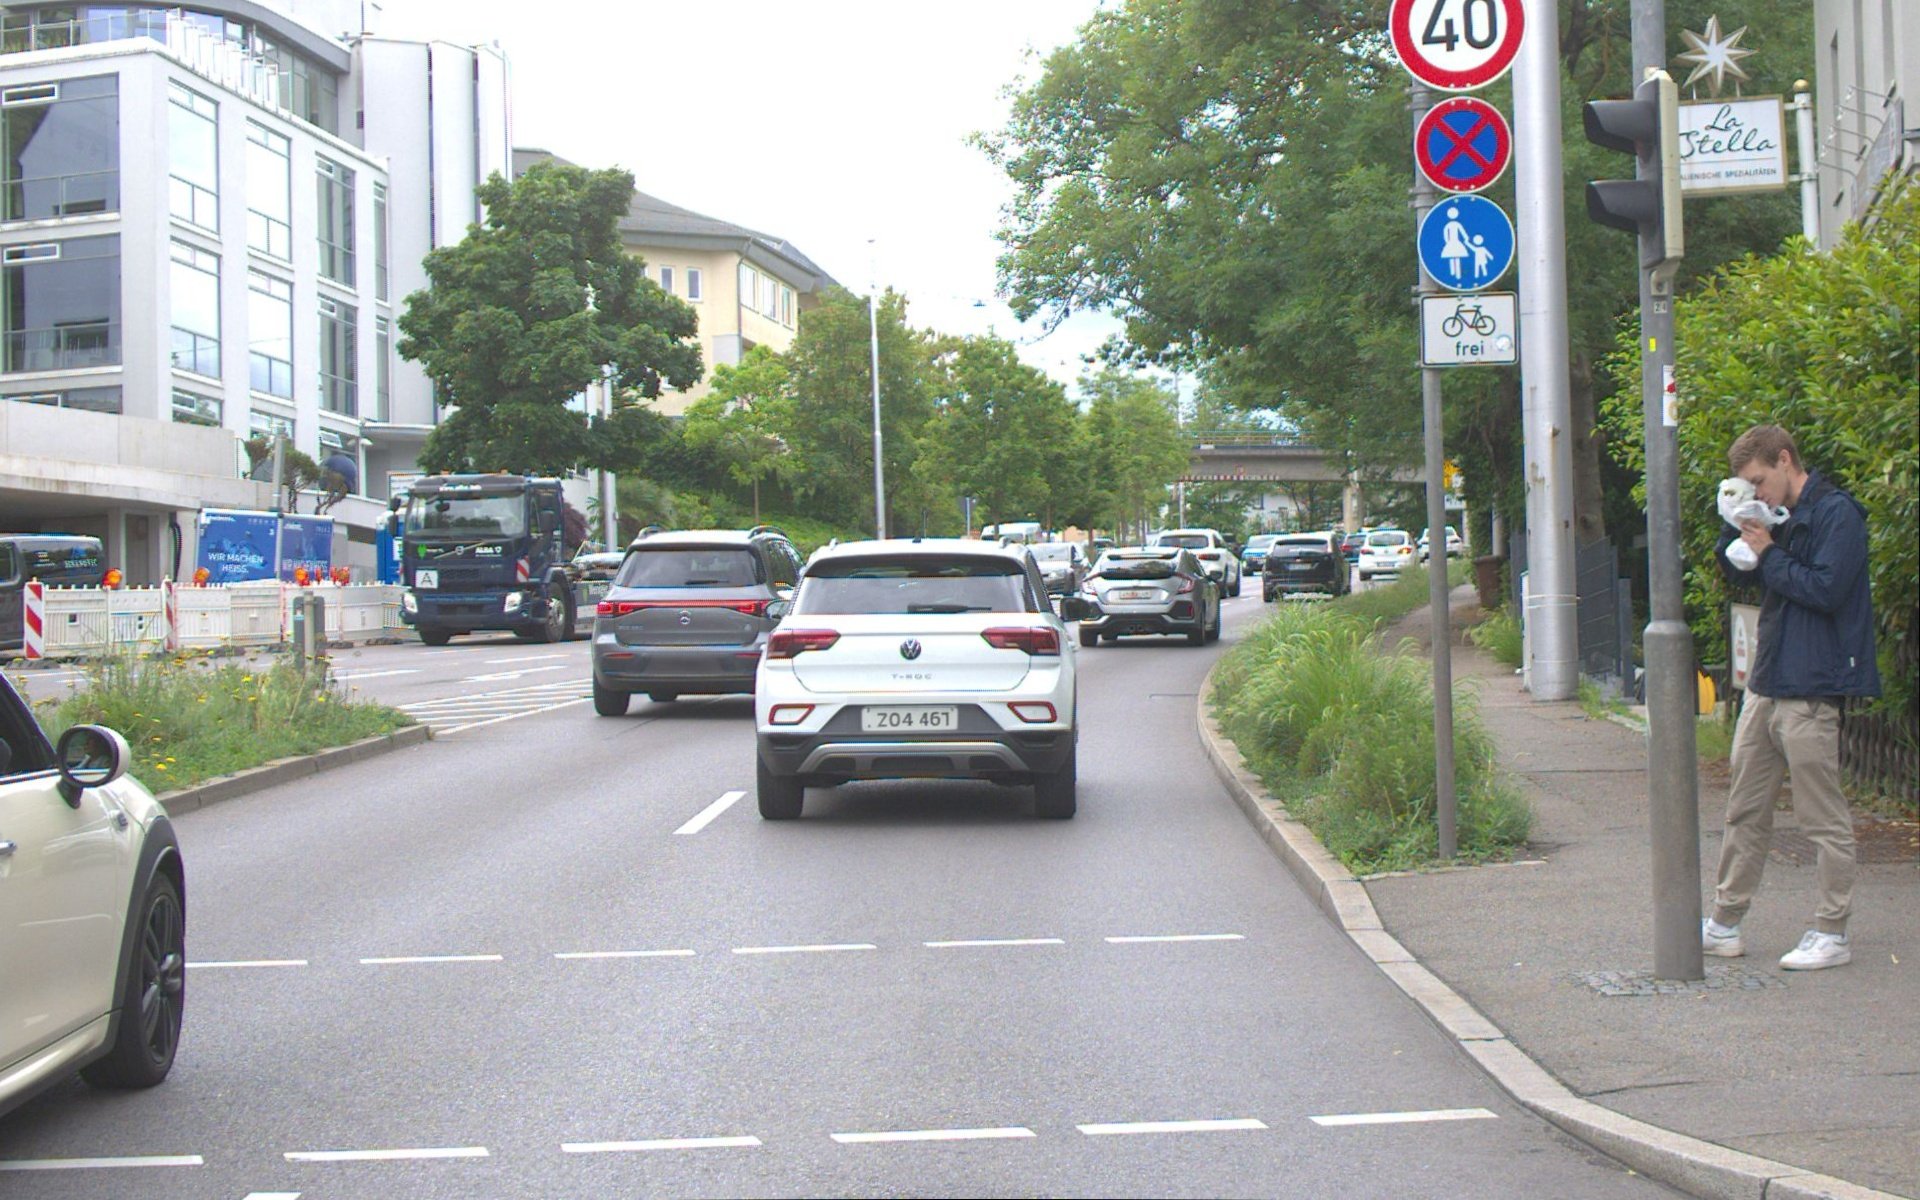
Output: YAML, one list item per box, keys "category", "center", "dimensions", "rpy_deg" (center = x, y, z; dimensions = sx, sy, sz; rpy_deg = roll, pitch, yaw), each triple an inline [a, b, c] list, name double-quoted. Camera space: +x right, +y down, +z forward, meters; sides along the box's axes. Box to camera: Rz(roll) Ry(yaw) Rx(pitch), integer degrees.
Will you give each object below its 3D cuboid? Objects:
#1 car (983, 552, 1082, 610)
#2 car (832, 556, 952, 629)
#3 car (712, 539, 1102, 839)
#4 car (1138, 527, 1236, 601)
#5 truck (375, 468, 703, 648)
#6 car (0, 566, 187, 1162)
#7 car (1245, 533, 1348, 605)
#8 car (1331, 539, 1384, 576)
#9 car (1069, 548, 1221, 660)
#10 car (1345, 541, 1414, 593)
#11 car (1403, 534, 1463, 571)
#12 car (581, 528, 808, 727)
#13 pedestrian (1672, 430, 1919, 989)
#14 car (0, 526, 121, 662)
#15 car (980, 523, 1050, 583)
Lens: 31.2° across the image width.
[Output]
- category: "car"
  center: [1.893, -0.498, 87.928]
  dimensions: [1.844, 1.388, 4.282]
  rpy_deg: [-1, 1, 11]
- category: "car"
  center: [-1.422, -0.187, 73.679]
  dimensions: [1.696, 1.491, 4.484]
  rpy_deg: [0, 1, 11]
- category: "car"
  center: [-0.404, 0.440, 20.004]
  dimensions: [1.811, 1.534, 3.690]
  rpy_deg: [-2, 1, -8]
- category: "car"
  center: [5.405, -0.877, 81.374]
  dimensions: [1.859, 1.646, 4.634]
  rpy_deg: [-1, 1, 9]
- category: "truck"
  center: [-7.291, -0.778, 61.080]
  dimensions: [2.962, 2.961, 8.974]
  rpy_deg: [0, 1, 12]
- category: "car"
  center: [-3.090, 0.644, 8.328]
  dimensions: [1.628, 1.388, 3.566]
  rpy_deg: [-1, 1, -1]
- category: "car"
  center: [7.540, -0.675, 76.742]
  dimensions: [1.874, 1.496, 4.553]
  rpy_deg: [2, 0, 10]
- category: "car"
  center: [17.034, -1.840, 147.416]
  dimensions: [1.858, 1.495, 4.055]
  rpy_deg: [-1, 1, 2]
- category: "car"
  center: [2.768, 0.049, 50.508]
  dimensions: [1.873, 1.496, 4.554]
  rpy_deg: [2, 0, 7]
- category: "car"
  center: [12.777, -1.008, 104.613]
  dimensions: [1.859, 1.495, 4.054]
  rpy_deg: [-1, 1, 10]
- category: "car"
  center: [20.055, -2.012, 145.939]
  dimensions: [1.985, 1.495, 4.056]
  rpy_deg: [-1, 1, 0]
- category: "car"
  center: [-2.355, 0.193, 31.509]
  dimensions: [1.812, 1.646, 4.636]
  rpy_deg: [-1, 1, -2]
- category: "pedestrian"
  center: [2.819, 0.356, 11.586]
  dimensions: [0.693, 1.827, 0.620]
  rpy_deg: [1, 0, 0]
- category: "car"
  center: [-14.483, -0.097, 50.497]
  dimensions: [1.983, 1.960, 5.215]
  rpy_deg: [-1, 1, 14]
- category: "car"
  center: [2.226, -1.897, 137.725]
  dimensions: [2.069, 2.298, 5.463]
  rpy_deg: [-1, 1, 8]
